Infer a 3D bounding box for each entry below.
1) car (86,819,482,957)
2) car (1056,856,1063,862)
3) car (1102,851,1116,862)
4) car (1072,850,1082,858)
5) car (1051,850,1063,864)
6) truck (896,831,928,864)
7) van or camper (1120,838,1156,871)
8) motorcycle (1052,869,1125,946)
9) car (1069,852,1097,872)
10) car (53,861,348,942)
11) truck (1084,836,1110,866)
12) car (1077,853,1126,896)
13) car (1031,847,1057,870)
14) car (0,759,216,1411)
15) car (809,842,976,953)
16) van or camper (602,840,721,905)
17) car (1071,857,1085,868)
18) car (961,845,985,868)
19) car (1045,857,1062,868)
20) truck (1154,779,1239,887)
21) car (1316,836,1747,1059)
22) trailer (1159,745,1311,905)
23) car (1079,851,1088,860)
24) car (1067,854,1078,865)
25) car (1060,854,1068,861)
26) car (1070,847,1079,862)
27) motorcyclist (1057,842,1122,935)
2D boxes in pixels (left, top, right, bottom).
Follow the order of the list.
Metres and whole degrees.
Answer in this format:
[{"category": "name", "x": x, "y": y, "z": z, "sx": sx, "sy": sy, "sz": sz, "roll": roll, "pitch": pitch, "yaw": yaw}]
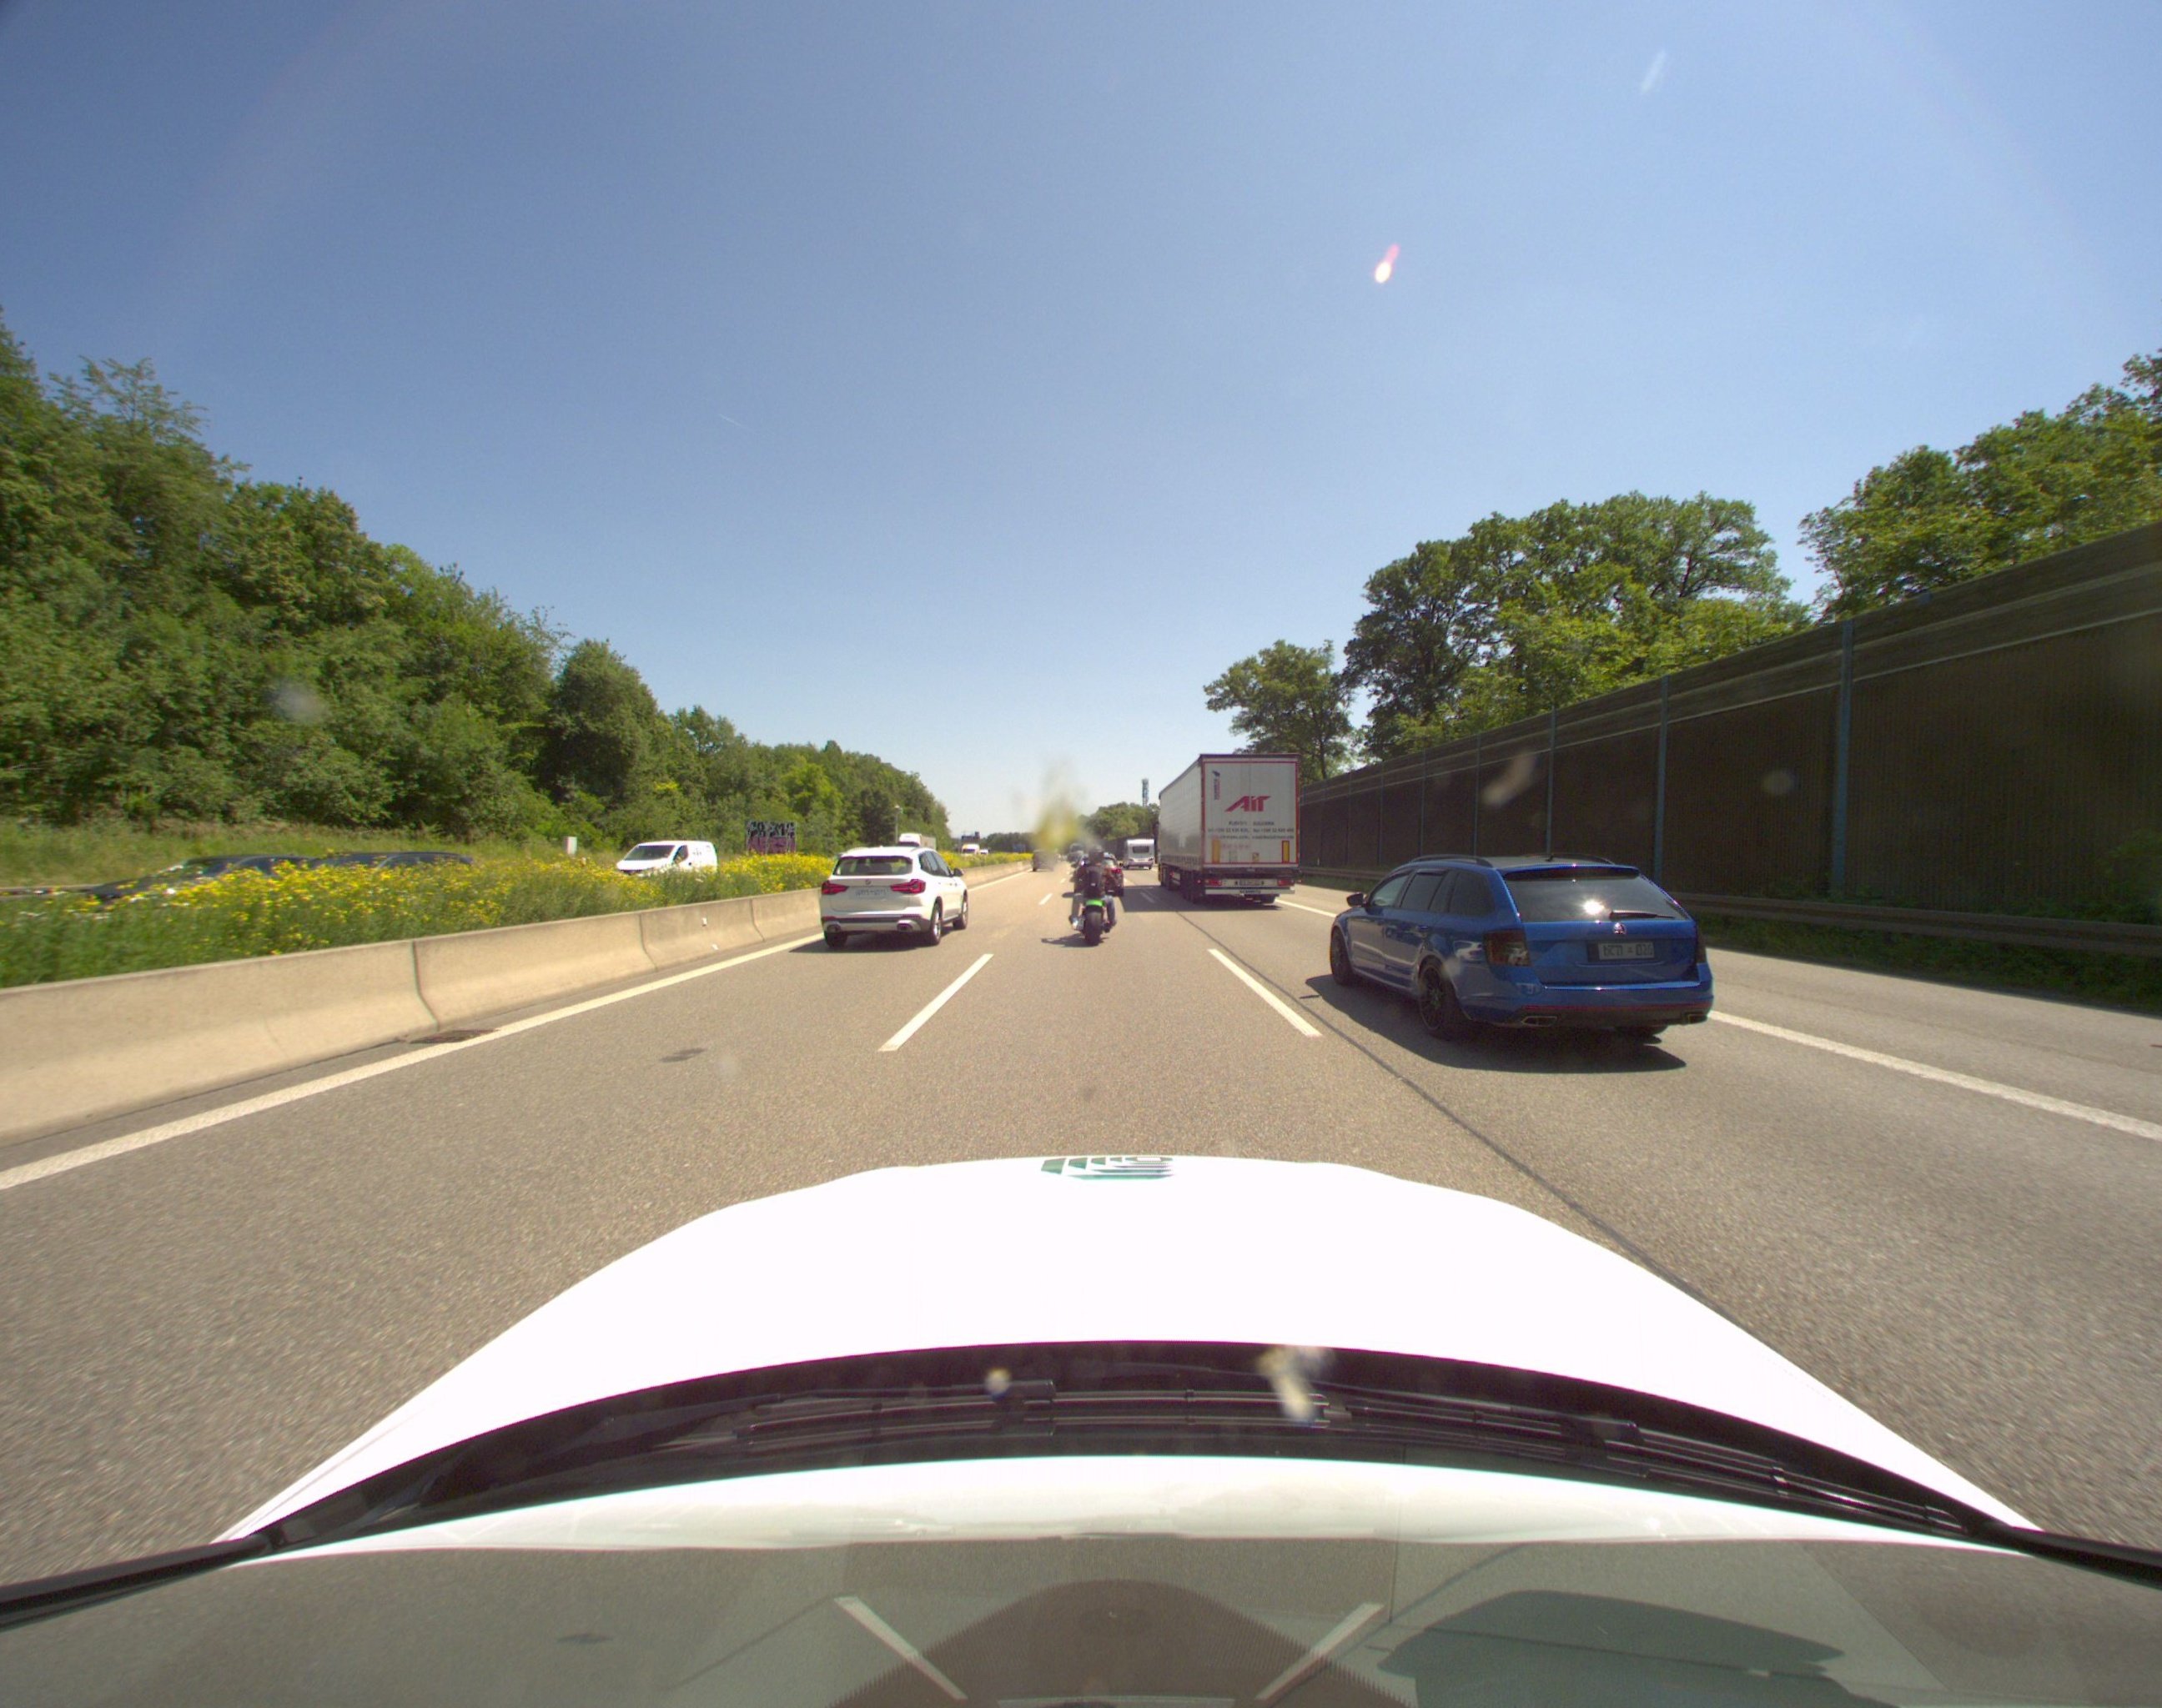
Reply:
[{"category": "car", "x": -11.217, "y": 0.459, "z": 11.974, "sx": 1.700, "sy": 1.665, "sz": 4.082, "roll": -1, "pitch": -1, "yaw": 1}, {"category": "car", "x": -5.751, "y": 1.299, "z": 220.466, "sx": 1.828, "sy": 1.496, "sz": 3.739, "roll": -1, "pitch": -1, "yaw": -3}, {"category": "car", "x": 4.255, "y": 0.345, "z": 124.956, "sx": 1.987, "sy": 1.574, "sz": 3.999, "roll": -1, "pitch": -1, "yaw": 0}, {"category": "car", "x": -0.958, "y": -0.046, "z": 199.986, "sx": 2.103, "sy": 1.876, "sz": 3.995, "roll": -1, "pitch": -1, "yaw": -3}, {"category": "car", "x": -3.782, "y": 0.471, "z": 127.084, "sx": 1.786, "sy": 2.014, "sz": 3.641, "roll": -1, "pitch": -1, "yaw": 0}, {"category": "truck", "x": -21.659, "y": -0.778, "z": 104.692, "sx": 2.956, "sy": 4.107, "sz": 6.084, "roll": -1, "pitch": -1, "yaw": -2}, {"category": "van or camper", "x": 4.950, "y": 0.109, "z": 71.952, "sx": 2.676, "sy": 2.813, "sz": 6.801, "roll": -1, "pitch": -1, "yaw": 0}, {"category": "motorcycle", "x": 0.194, "y": 0.866, "z": 14.143, "sx": 0.959, "sy": 1.148, "sz": 2.817, "roll": 0, "pitch": 0, "yaw": 7}, {"category": "car", "x": 0.125, "y": 0.604, "z": 60.249, "sx": 1.987, "sy": 1.430, "sz": 3.846, "roll": -1, "pitch": -1, "yaw": 0}, {"category": "car", "x": -18.170, "y": 0.918, "z": 17.140, "sx": 1.769, "sy": 1.491, "sz": 4.001, "roll": -1, "pitch": -1, "yaw": 1}, {"category": "truck", "x": 2.724, "y": -0.469, "z": 143.881, "sx": 3.794, "sy": 4.960, "sz": 8.939, "roll": -1, "pitch": -1, "yaw": -3}, {"category": "car", "x": 0.725, "y": 0.742, "z": 29.548, "sx": 1.656, "sy": 1.453, "sz": 3.869, "roll": -1, "pitch": -1, "yaw": 1}, {"category": "car", "x": -3.133, "y": 0.438, "z": 69.584, "sx": 1.893, "sy": 1.874, "sz": 4.412, "roll": -1, "pitch": -1, "yaw": 1}, {"category": "car", "x": -3.933, "y": 0.645, "z": 0.491, "sx": 1.758, "sy": 1.813, "sz": 4.675, "roll": -1, "pitch": 0, "yaw": 1}, {"category": "car", "x": -3.258, "y": 0.690, "z": 15.194, "sx": 1.857, "sy": 1.694, "sz": 4.956, "roll": -1, "pitch": 0, "yaw": 1}, {"category": "van or camper", "x": -13.961, "y": 0.576, "z": 27.397, "sx": 1.686, "sy": 2.012, "sz": 4.214, "roll": -1, "pitch": 0, "yaw": 1}, {"category": "car", "x": -0.407, "y": 1.330, "z": 126.880, "sx": 1.986, "sy": 1.640, "sz": 4.000, "roll": -1, "pitch": -1, "yaw": 1}, {"category": "car", "x": -13.981, "y": 0.346, "z": 105.929, "sx": 2.061, "sy": 2.896, "sz": 7.461, "roll": -1, "pitch": 0, "yaw": 0}, {"category": "car", "x": -3.561, "y": 1.085, "z": 106.308, "sx": 1.987, "sy": 1.387, "sz": 3.998, "roll": -1, "pitch": -1, "yaw": -1}, {"category": "truck", "x": 4.747, "y": -0.808, "z": 34.522, "sx": 2.875, "sy": 4.146, "sz": 5.987, "roll": -1, "pitch": 0, "yaw": 1}, {"category": "car", "x": 3.674, "y": 0.669, "z": 7.722, "sx": 1.645, "sy": 1.483, "sz": 4.481, "roll": -1, "pitch": -1, "yaw": 1}, {"category": "trailer", "x": 4.587, "y": -0.733, "z": 27.683, "sx": 2.875, "sy": 4.038, "sz": 13.799, "roll": -1, "pitch": 0, "yaw": 1}, {"category": "car", "x": 0.578, "y": 0.388, "z": 194.510, "sx": 2.103, "sy": 1.876, "sz": 3.995, "roll": -1, "pitch": -1, "yaw": -3}, {"category": "car", "x": -1.664, "y": 1.077, "z": 157.674, "sx": 1.907, "sy": 2.014, "sz": 3.687, "roll": -1, "pitch": -1, "yaw": -3}, {"category": "car", "x": -3.816, "y": 0.888, "z": 181.634, "sx": 1.828, "sy": 1.496, "sz": 3.739, "roll": -1, "pitch": -1, "yaw": -3}, {"category": "car", "x": -1.770, "y": 0.049, "z": 213.565, "sx": 2.128, "sy": 3.862, "sz": 8.135, "roll": 0, "pitch": 0, "yaw": -2}, {"category": "motorcyclist", "x": 0.179, "y": 0.575, "z": 14.043, "sx": 0.895, "sy": 1.475, "sz": 1.875, "roll": -1, "pitch": -1, "yaw": 7}]
